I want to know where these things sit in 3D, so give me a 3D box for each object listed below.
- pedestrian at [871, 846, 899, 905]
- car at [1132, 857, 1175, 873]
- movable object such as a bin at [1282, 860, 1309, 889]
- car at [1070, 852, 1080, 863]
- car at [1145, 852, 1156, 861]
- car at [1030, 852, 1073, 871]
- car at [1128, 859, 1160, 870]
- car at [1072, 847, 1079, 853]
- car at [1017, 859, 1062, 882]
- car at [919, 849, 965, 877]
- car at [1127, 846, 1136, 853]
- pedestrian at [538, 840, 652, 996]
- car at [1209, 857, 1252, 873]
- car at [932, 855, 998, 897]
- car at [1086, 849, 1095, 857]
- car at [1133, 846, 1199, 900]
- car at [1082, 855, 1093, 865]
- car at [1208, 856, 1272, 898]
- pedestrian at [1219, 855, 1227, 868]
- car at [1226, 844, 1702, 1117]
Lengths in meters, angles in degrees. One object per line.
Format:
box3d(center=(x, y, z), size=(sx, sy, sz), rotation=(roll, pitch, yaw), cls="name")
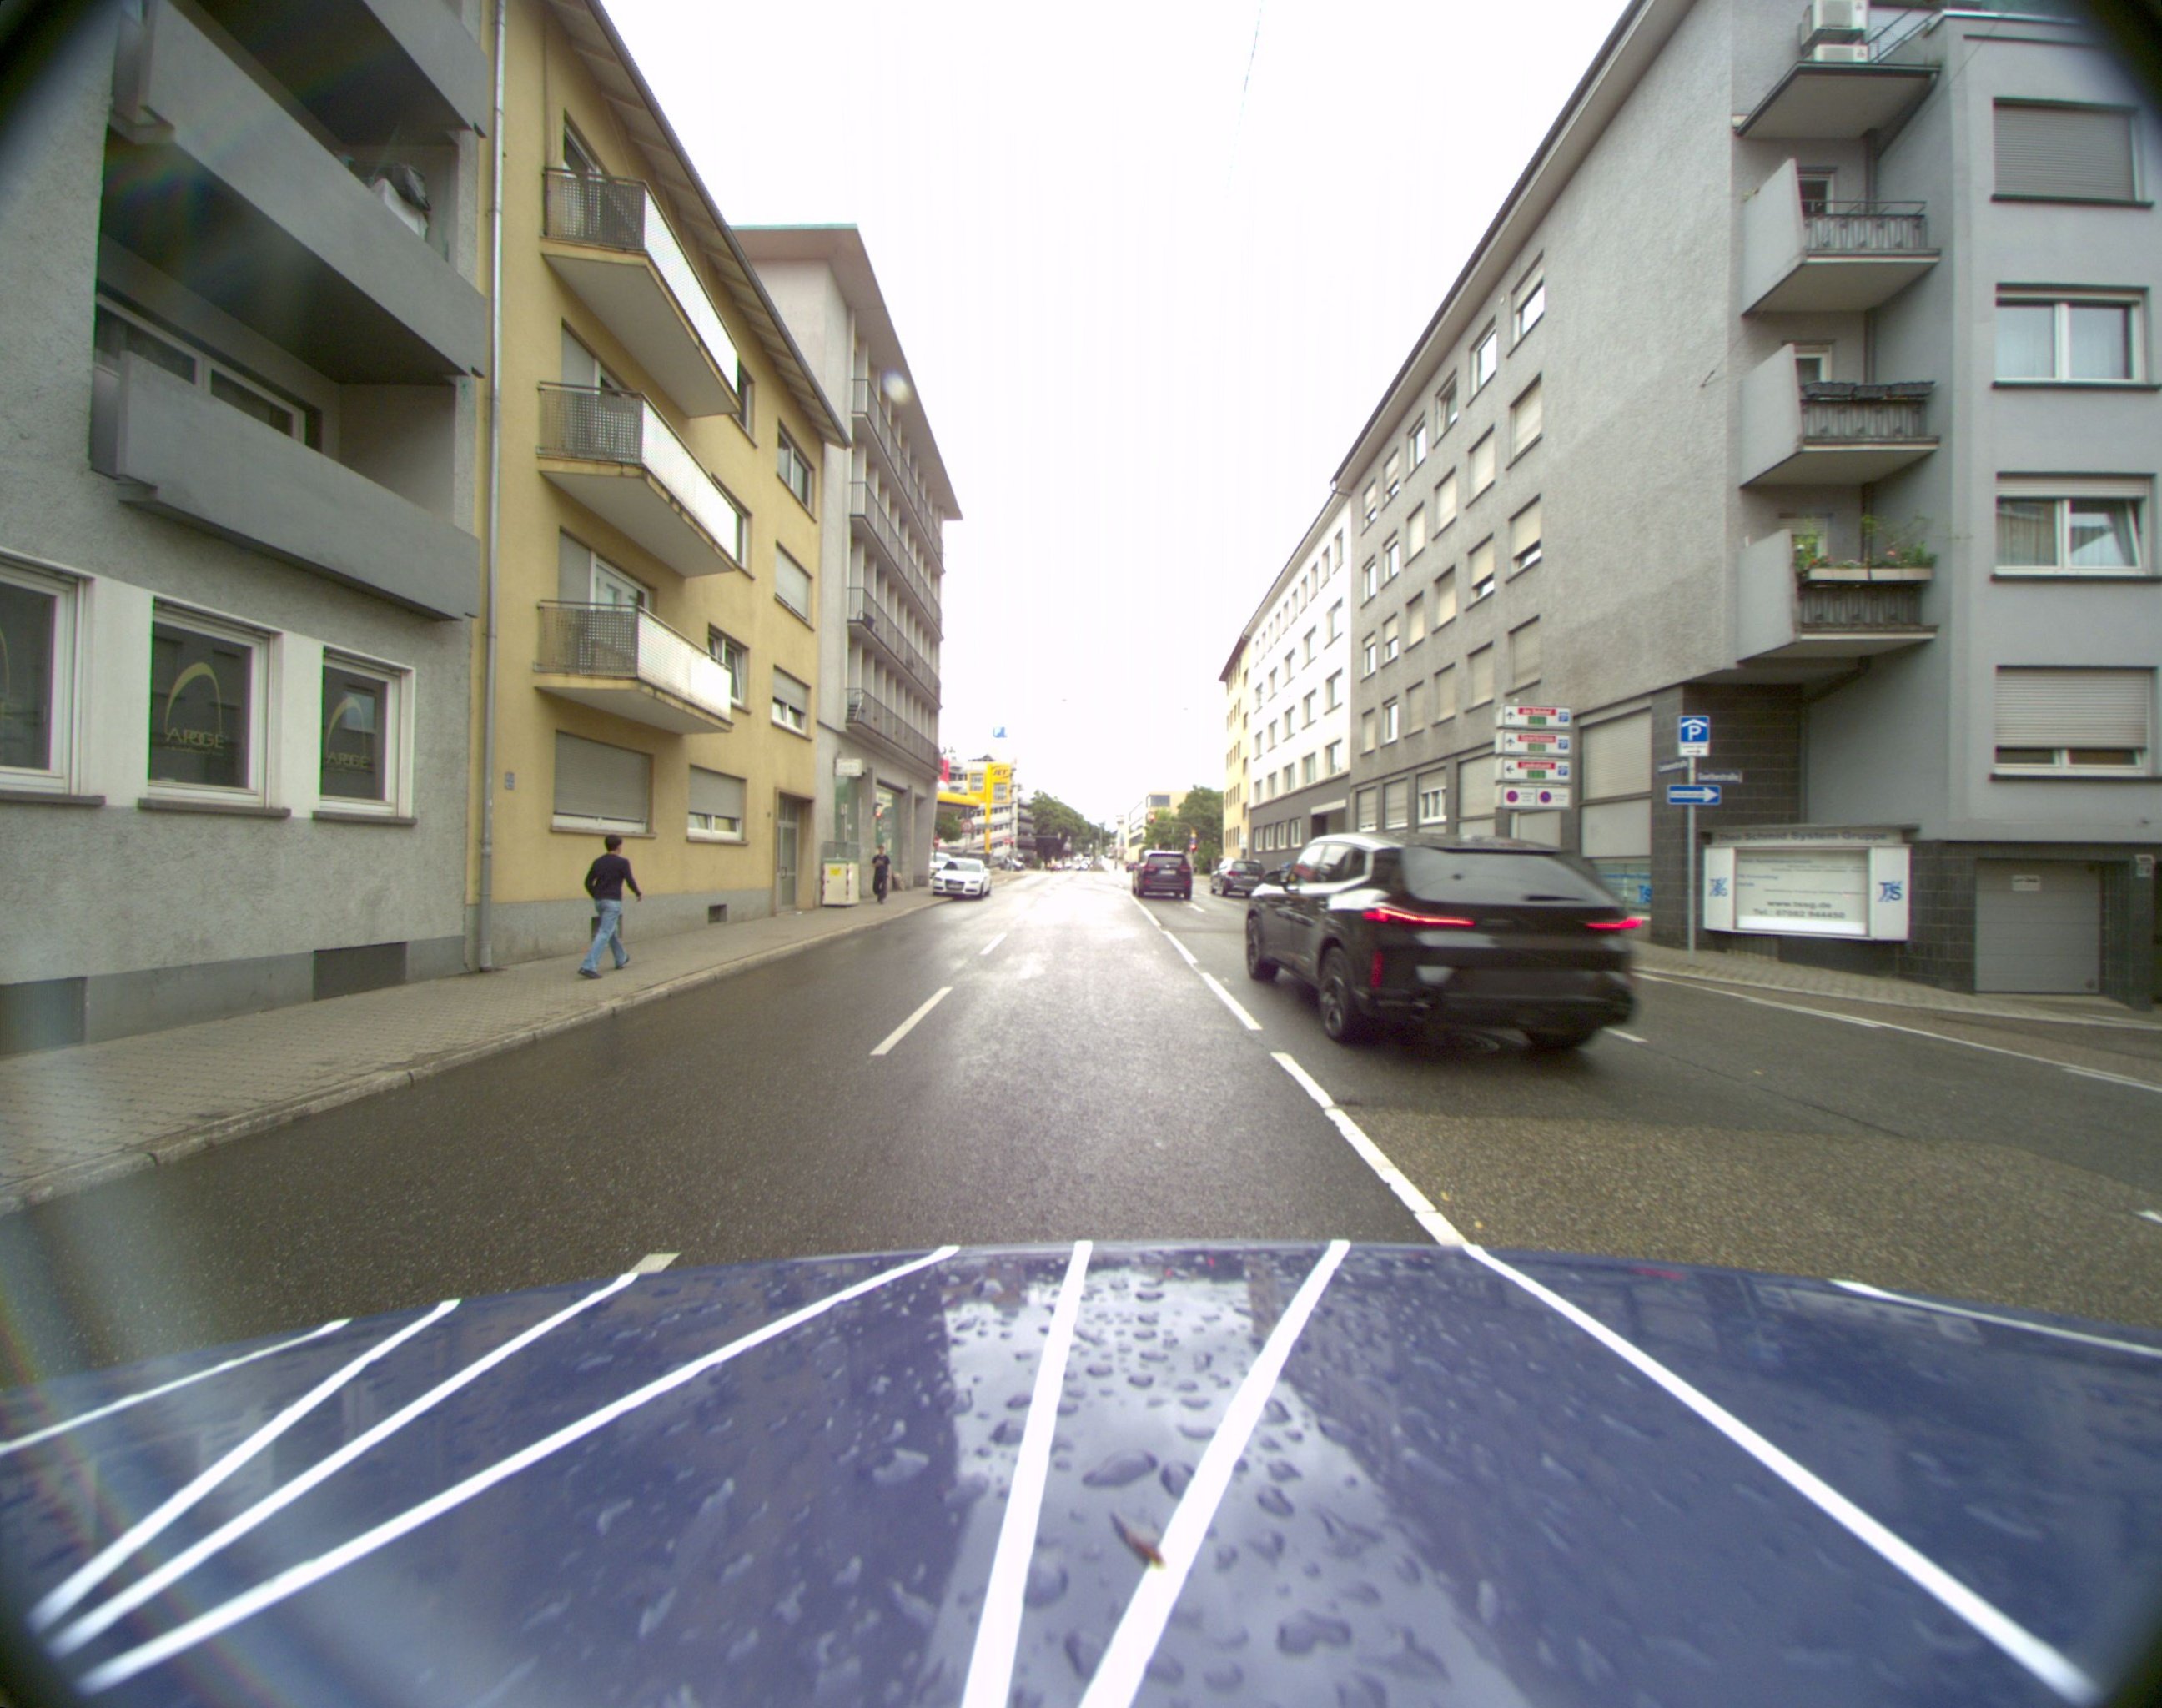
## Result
box3d(center=(-5.891, 0.625, 22.912), size=(0.679, 1.745, 0.888), rotation=(1, 1, -6), cls="pedestrian")
box3d(center=(6.992, 1.032, 73.280), size=(3.996, 1.499, 1.738), rotation=(1, 1, 2), cls="car")
box3d(center=(10.377, 0.990, 36.815), size=(0.946, 1.325, 1.096), rotation=(-3, 1, 1), cls="movable object such as a bin")
box3d(center=(-1.155, 0.601, 148.555), size=(1.998, 2.002, 3.999), rotation=(-2, 1, 0), cls="car")
box3d(center=(15.468, 0.564, 170.078), size=(1.998, 1.863, 3.999), rotation=(-2, 1, 0), cls="car")
box3d(center=(-2.912, 0.722, 75.651), size=(3.994, 1.751, 2.001), rotation=(1, 1, 9), cls="car")
box3d(center=(8.536, 1.409, 102.809), size=(4.005, 1.499, 1.734), rotation=(1, 1, -25), cls="car")
box3d(center=(-1.864, -1.380, 257.751), size=(1.998, 1.827, 3.999), rotation=(-2, 1, 1), cls="car")
box3d(center=(-3.726, 1.455, 68.433), size=(3.794, 1.823, 1.692), rotation=(-3, 1, 2), cls="car")
box3d(center=(-8.049, 0.531, 43.648), size=(1.774, 1.465, 3.993), rotation=(-3, 0, -22), cls="car")
box3d(center=(12.873, -1.136, 192.916), size=(1.998, 1.683, 4.000), rotation=(-2, 1, 2), cls="car")
box3d(center=(-5.911, 0.737, 9.299), size=(0.644, 1.768, 1.056), rotation=(3, 1, 0), cls="pedestrian")
box3d(center=(15.094, 1.107, 76.805), size=(3.996, 1.499, 1.738), rotation=(1, 1, 2), cls="car")
box3d(center=(-4.355, 0.773, 29.090), size=(1.803, 1.427, 4.166), rotation=(1, 0, 1), cls="car")
box3d(center=(2.273, -0.249, 181.238), size=(1.998, 2.002, 3.999), rotation=(-2, 1, 1), cls="car")
box3d(center=(2.980, 0.620, 27.460), size=(1.841, 1.717, 4.474), rotation=(3, 0, 0), cls="car")
box3d(center=(1.350, 1.228, 153.470), size=(1.999, 1.736, 3.998), rotation=(-2, 1, -2), cls="car")
box3d(center=(6.477, 0.897, 31.336), size=(1.707, 1.498, 4.159), rotation=(3, 0, 0), cls="car")
box3d(center=(13.041, 0.675, 69.842), size=(0.582, 1.143, 0.407), rotation=(3, 1, 2), cls="pedestrian")
box3d(center=(2.954, 0.818, 7.363), size=(2.132, 1.711, 4.817), rotation=(2, 0, 0), cls="car")
